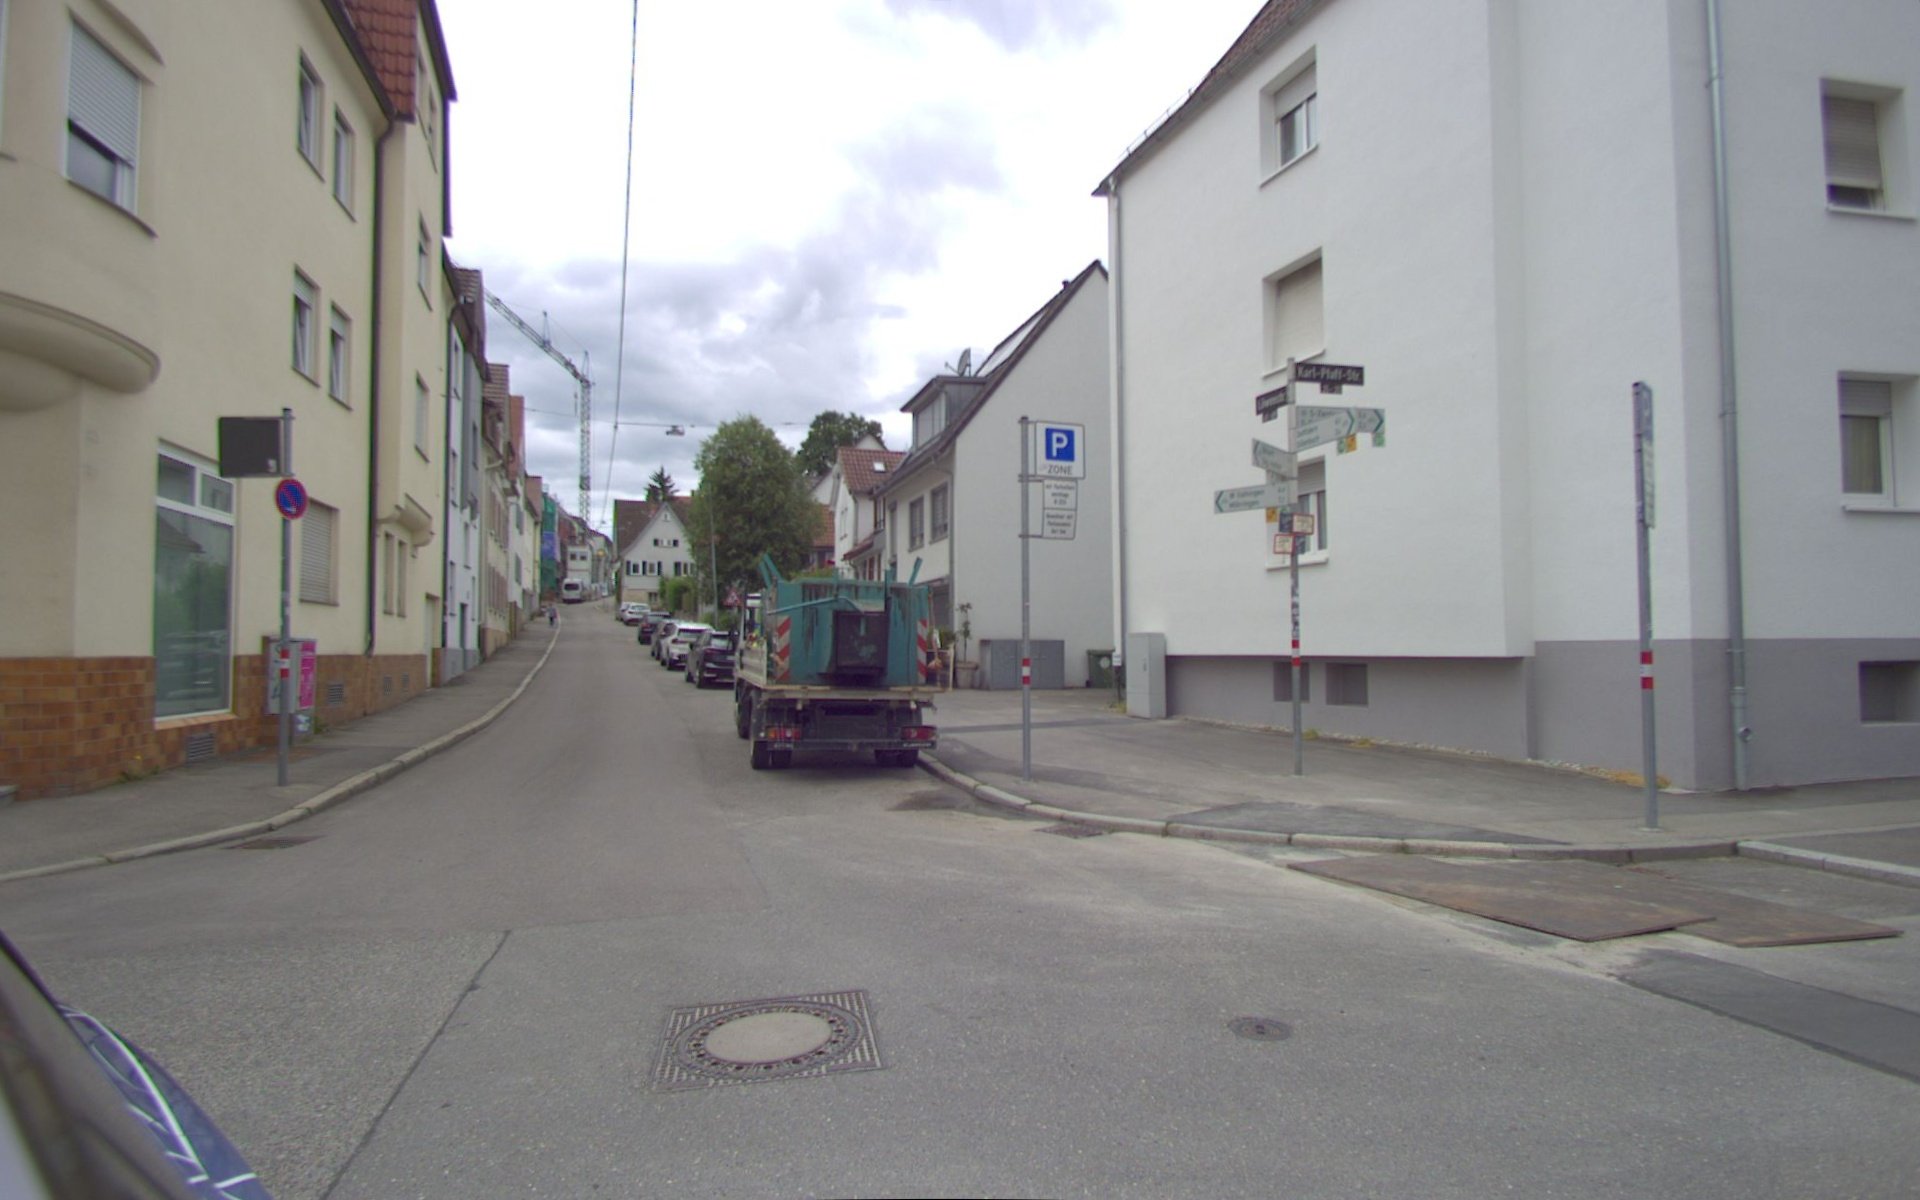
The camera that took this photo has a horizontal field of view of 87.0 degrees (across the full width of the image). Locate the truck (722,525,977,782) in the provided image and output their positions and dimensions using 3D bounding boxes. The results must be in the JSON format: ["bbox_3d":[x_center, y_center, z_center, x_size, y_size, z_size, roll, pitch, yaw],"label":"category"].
[{"bbox_3d":[-1.805,0.714,13.473,2.278,2.571,6.305,2,-3,-16],"label":"truck"}]

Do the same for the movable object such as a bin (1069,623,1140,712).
[{"bbox_3d":[2.694,1.250,19.019,0.994,1.630,1.004,1,-2,-16],"label":"movable object such as a bin"}]

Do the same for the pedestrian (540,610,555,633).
[{"bbox_3d":[-26.626,1.375,65.320,0.744,1.500,0.568,1,-2,-34],"label":"pedestrian"}]

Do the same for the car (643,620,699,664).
[{"bbox_3d":[-12.097,1.718,42.219,1.824,1.663,3.959,2,-1,-22],"label":"car"}]

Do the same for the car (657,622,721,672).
[{"bbox_3d":[-9.716,1.652,36.105,1.824,1.663,3.958,2,-2,-20],"label":"car"}]

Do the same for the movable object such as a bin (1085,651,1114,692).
[{"bbox_3d":[3.620,1.850,26.290,0.559,1.064,0.816,1,-3,-8],"label":"movable object such as a bin"}]

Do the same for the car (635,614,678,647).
[{"bbox_3d":[-15.953,1.573,53.100,1.824,1.663,3.959,2,-1,-22],"label":"car"}]

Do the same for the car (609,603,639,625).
[{"bbox_3d":[-25.208,1.055,75.886,1.824,1.460,3.959,2,0,-22],"label":"car"}]

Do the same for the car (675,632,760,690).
[{"bbox_3d":[-6.715,1.637,27.766,1.824,1.474,3.958,2,-2,-20],"label":"car"}]

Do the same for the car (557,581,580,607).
[{"bbox_3d":[-42.863,-0.607,110.801,2.157,2.665,5.845,2,-1,-21],"label":"car"}]

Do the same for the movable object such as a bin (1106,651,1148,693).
[{"bbox_3d":[4.365,1.868,26.462,0.844,1.064,0.893,1,-3,-8],"label":"movable object such as a bin"}]

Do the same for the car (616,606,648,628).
[{"bbox_3d":[-22.852,1.171,70.405,1.824,1.460,3.959,2,-1,-22],"label":"car"}]
